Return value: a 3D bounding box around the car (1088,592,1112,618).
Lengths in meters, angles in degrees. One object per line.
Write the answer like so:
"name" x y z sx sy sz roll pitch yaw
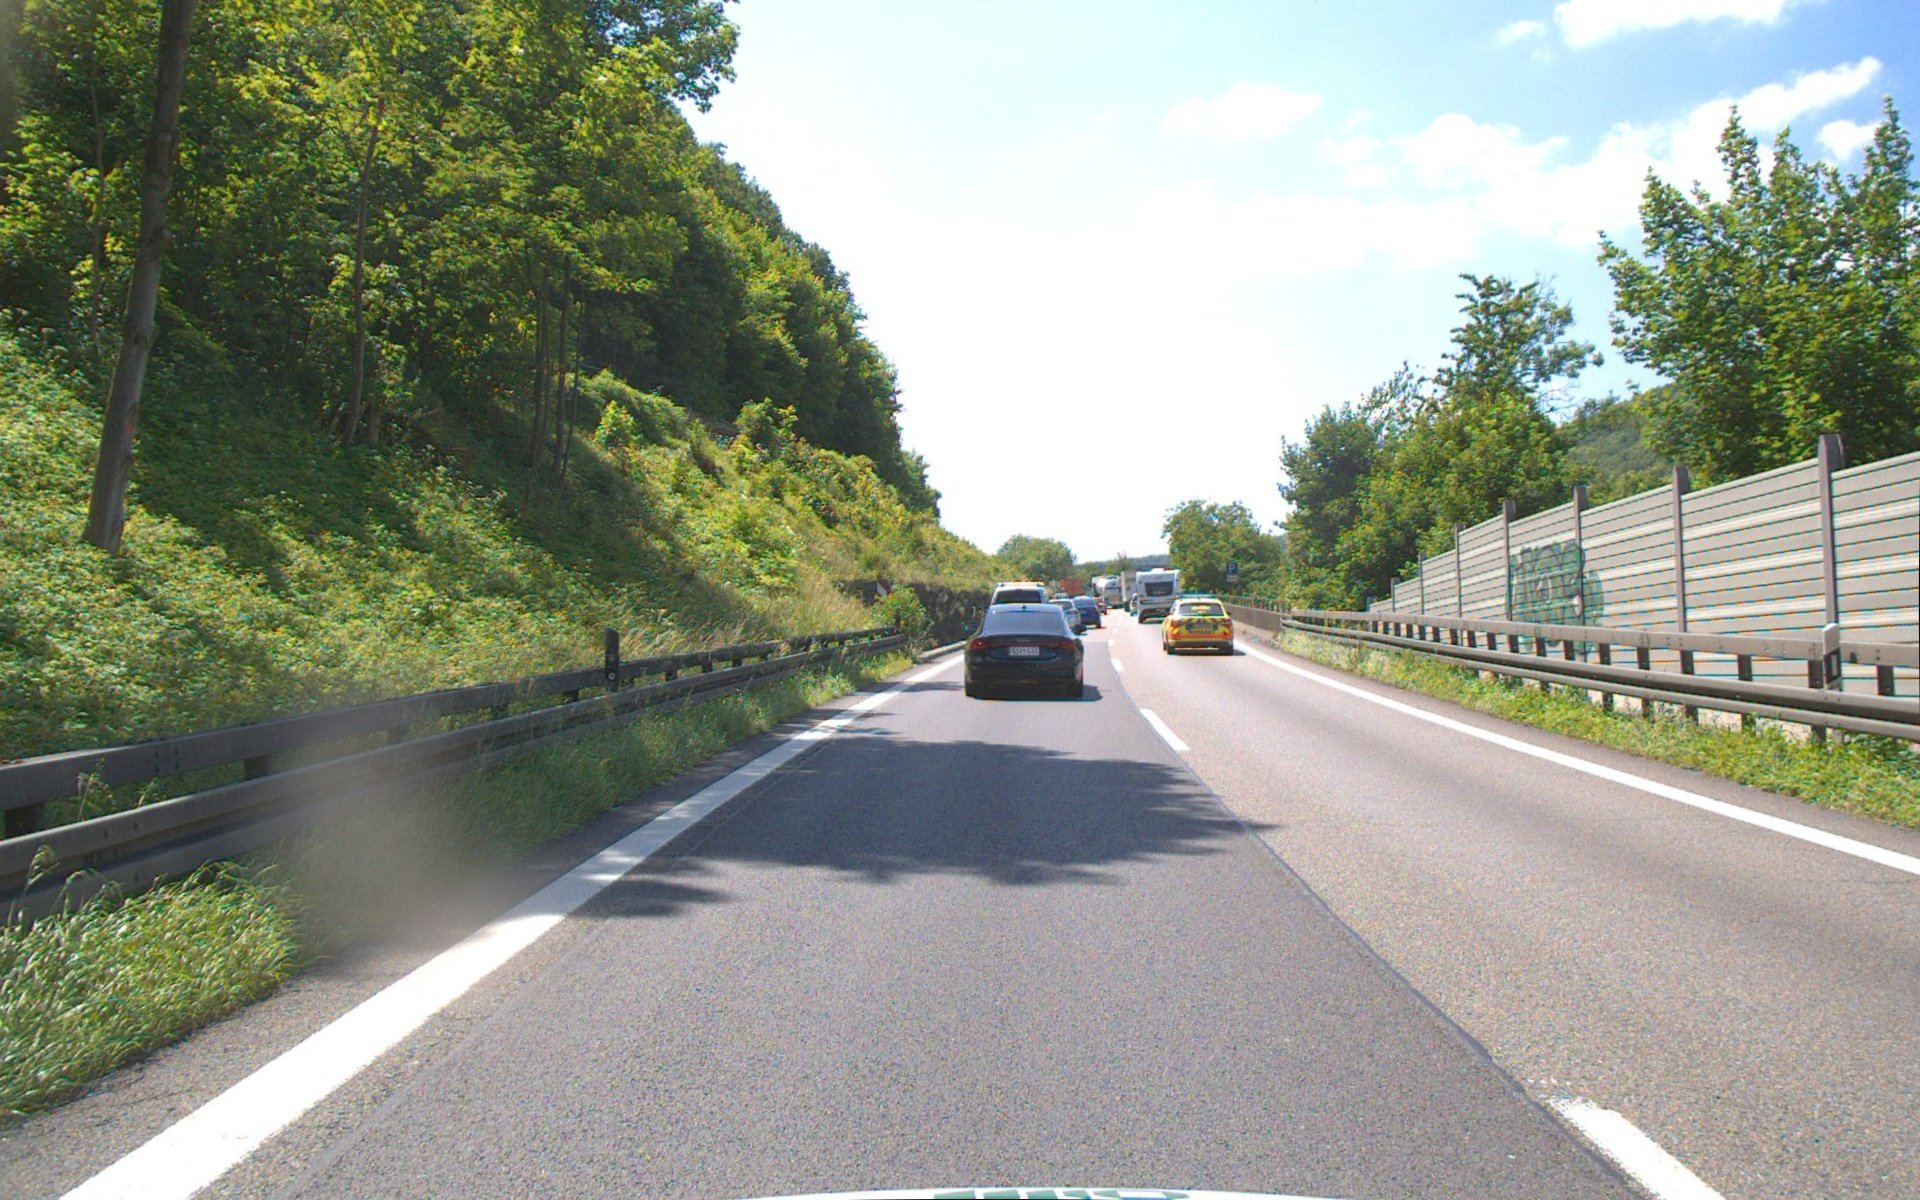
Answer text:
"car" 11.633 0.433 137.040 1.951 2.100 4.002 0 -1 6

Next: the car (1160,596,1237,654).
"car" 6.443 0.680 44.940 1.823 1.514 4.002 0 -1 5

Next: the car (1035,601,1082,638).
"car" 4.043 0.795 67.675 1.710 1.456 4.002 0 -1 6

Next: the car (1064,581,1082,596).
"car" 15.877 -1.602 232.424 1.954 2.049 3.998 0 0 -3

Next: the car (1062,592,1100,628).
"car" 5.802 0.454 79.493 1.736 1.665 4.001 0 0 3

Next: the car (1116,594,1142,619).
"car" 11.941 0.436 117.125 1.802 1.747 4.002 0 0 5

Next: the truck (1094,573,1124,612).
"truck" 16.116 -0.816 179.526 2.676 4.168 7.481 0 0 1

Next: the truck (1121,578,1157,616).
"truck" 15.656 -0.272 145.117 2.781 3.186 7.483 0 0 3

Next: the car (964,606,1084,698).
"car" 1.027 0.808 26.776 1.799 1.373 4.000 0 -1 2

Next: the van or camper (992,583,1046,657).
"van or camper" 1.529 0.541 43.768 1.363 1.848 4.000 0 -1 1

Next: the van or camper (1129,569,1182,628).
"van or camper" 10.284 -0.030 87.377 2.404 2.969 6.128 0 -1 3

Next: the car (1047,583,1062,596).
"car" 14.743 -1.662 258.094 1.954 2.049 3.997 0 0 -3
